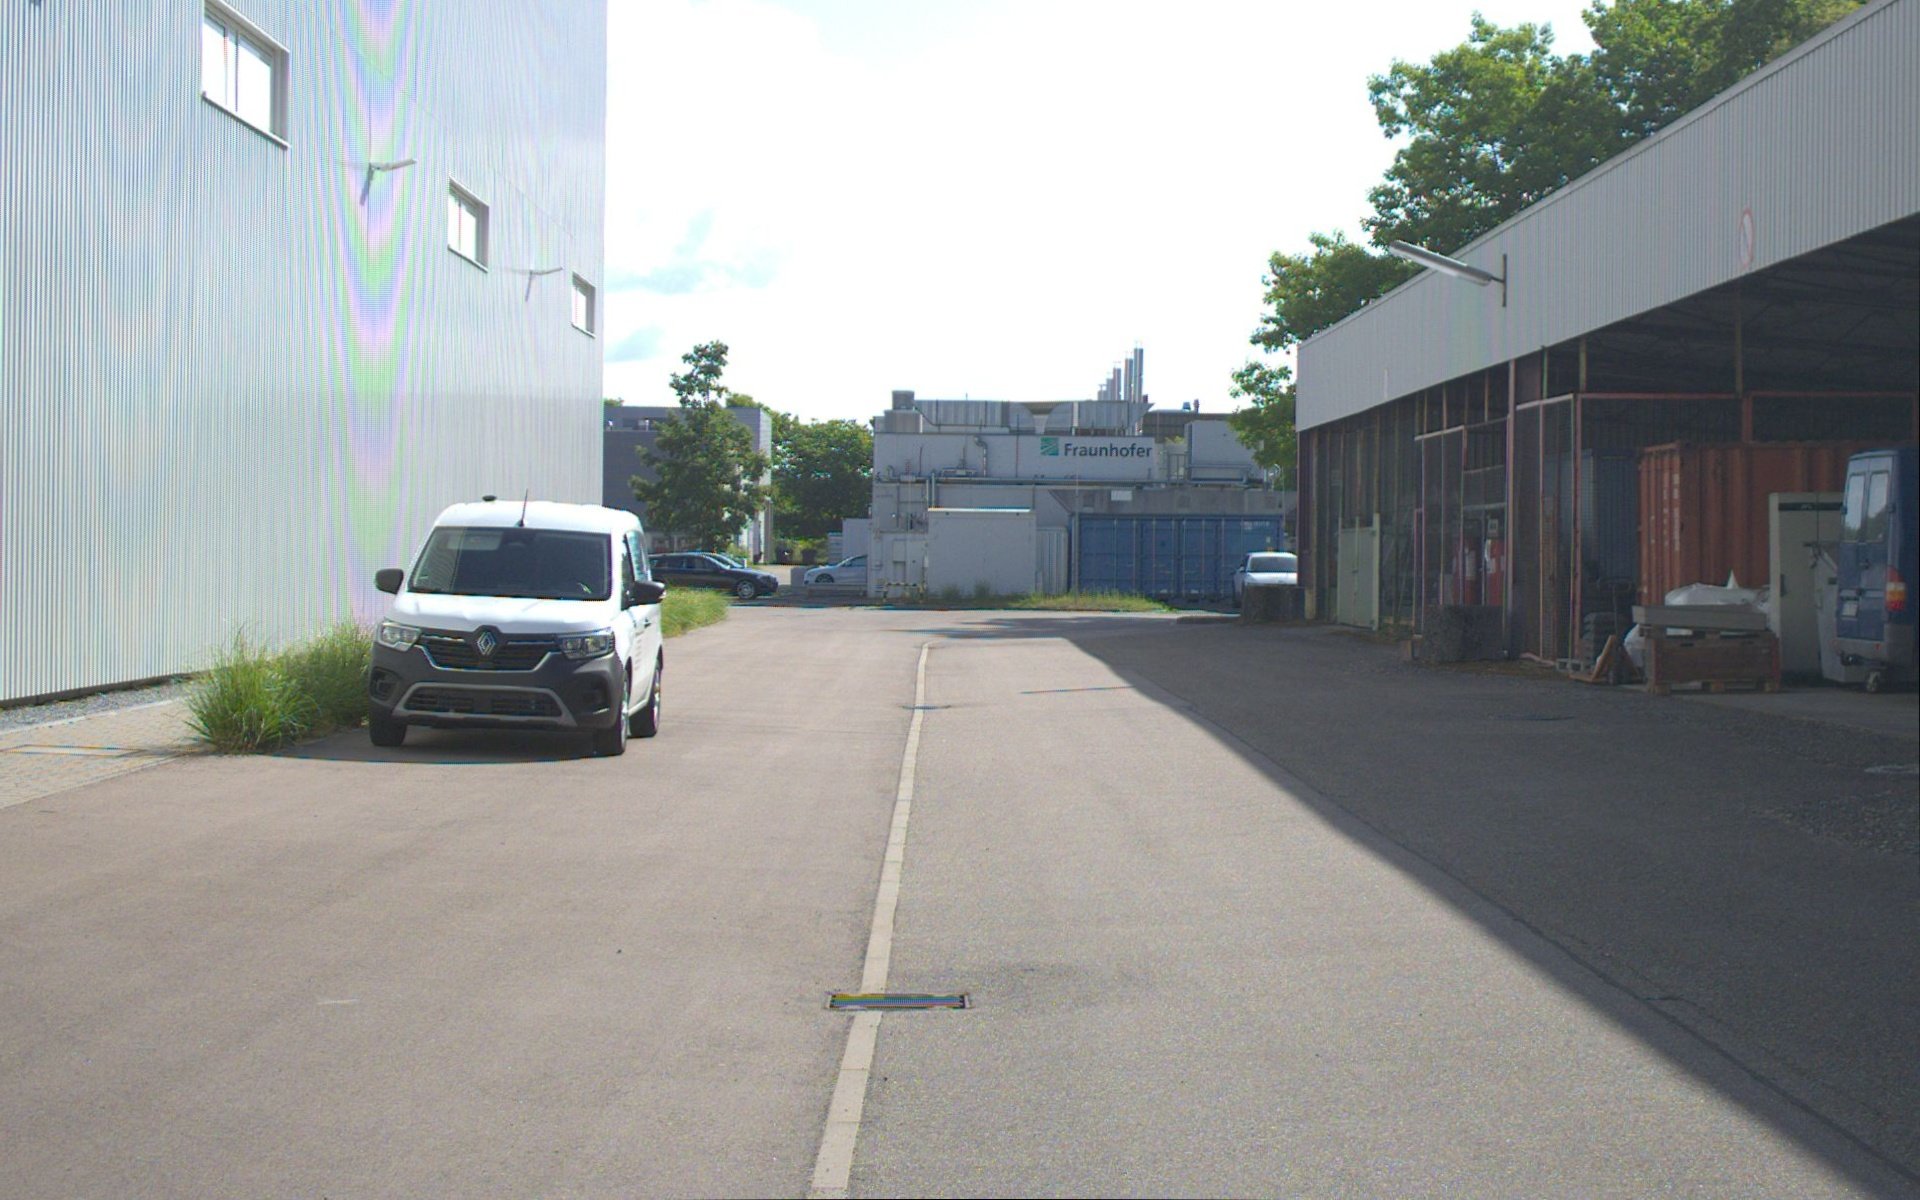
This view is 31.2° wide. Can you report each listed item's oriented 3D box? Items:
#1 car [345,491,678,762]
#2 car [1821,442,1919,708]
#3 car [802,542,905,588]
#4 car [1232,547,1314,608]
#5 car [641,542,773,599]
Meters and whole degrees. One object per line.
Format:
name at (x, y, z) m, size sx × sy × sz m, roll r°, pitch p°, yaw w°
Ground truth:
car at (-3.228, 0.135, 25.561) m, size 1.818 × 1.781 × 4.405 m, roll 2°, pitch 1°, yaw 0°
car at (10.209, -0.125, 30.831) m, size 4.433 × 2.302 × 1.915 m, roll 2°, pitch -1°, yaw 1°
car at (-4.195, -1.371, 135.661) m, size 3.987 × 1.592 × 1.848 m, roll 2°, pitch -1°, yaw -1°
car at (8.657, -0.631, 95.314) m, size 1.962 × 1.559 × 4.059 m, roll 2°, pitch 1°, yaw 2°
car at (-7.900, -0.929, 107.796) m, size 3.987 × 1.592 × 1.742 m, roll 2°, pitch -1°, yaw -1°
